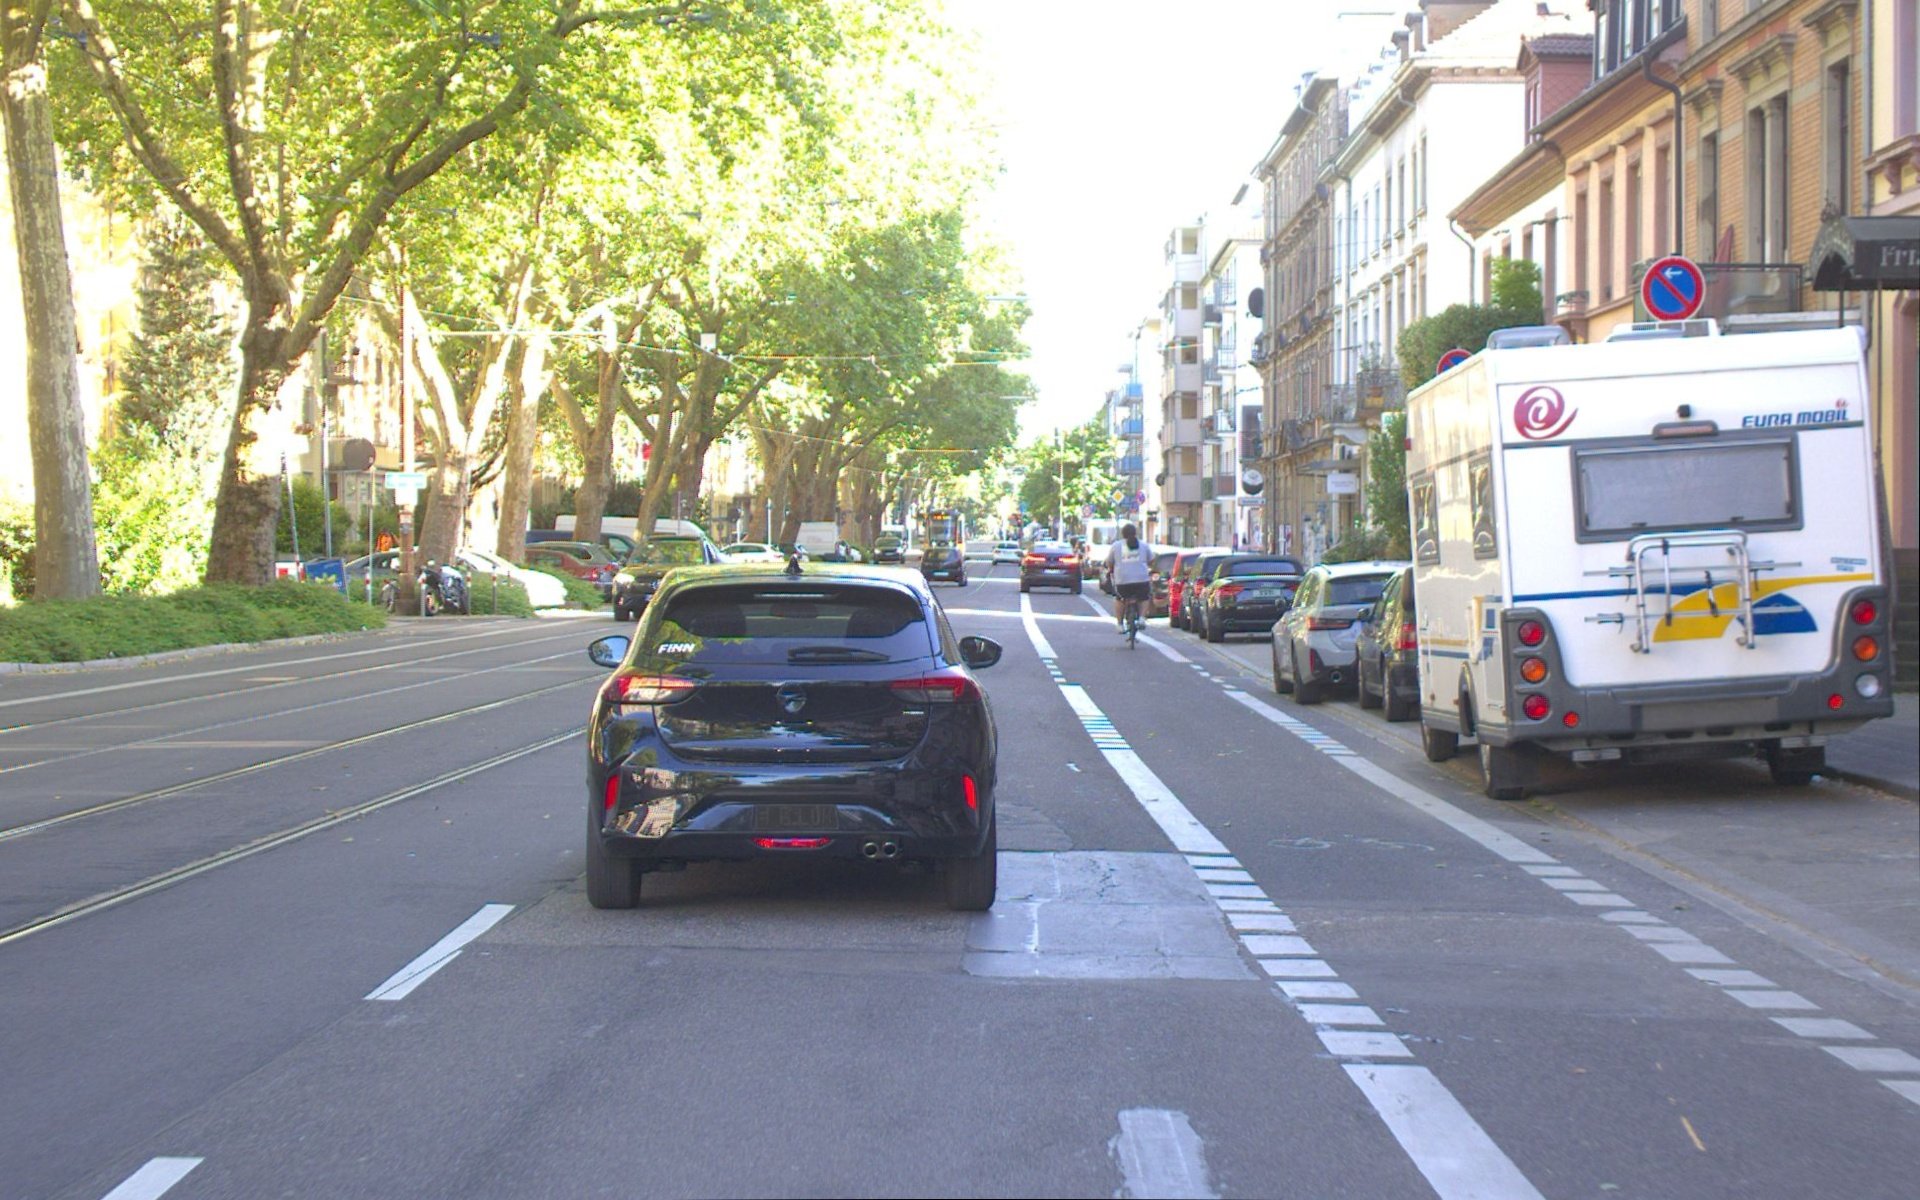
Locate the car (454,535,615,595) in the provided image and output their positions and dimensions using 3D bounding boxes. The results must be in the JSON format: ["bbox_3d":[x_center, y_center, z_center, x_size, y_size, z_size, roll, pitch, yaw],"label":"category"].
[{"bbox_3d":[-11.103,-0.908,89.782,3.920,1.437,1.749,2,1,2],"label":"car"}]

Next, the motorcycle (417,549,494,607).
[{"bbox_3d":[-10.279,-0.459,70.135,0.884,1.143,2.390,1,1,9],"label":"motorcycle"}]

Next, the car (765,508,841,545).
[{"bbox_3d":[-8.239,-3.852,180.321,3.919,1.784,1.677,2,1,-1],"label":"car"}]

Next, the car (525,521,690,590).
[{"bbox_3d":[-10.630,-1.335,103.860,4.675,1.917,1.980,2,1,3],"label":"car"}]

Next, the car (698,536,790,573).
[{"bbox_3d":[-9.404,-1.985,149.857,3.919,1.493,1.677,2,1,-1],"label":"car"}]

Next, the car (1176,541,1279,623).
[{"bbox_3d":[4.925,-0.356,63.657,1.651,1.451,3.868,-1,1,1],"label":"car"}]

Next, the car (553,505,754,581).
[{"bbox_3d":[-10.566,-1.961,118.967,6.628,2.401,2.458,2,1,2],"label":"car"}]

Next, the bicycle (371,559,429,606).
[{"bbox_3d":[-11.399,-0.363,70.046,0.541,0.937,2.033,1,1,9],"label":"bicycle"}]

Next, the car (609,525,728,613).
[{"bbox_3d":[-5.689,-0.640,67.524,1.866,1.624,4.560,0,2,1],"label":"car"}]

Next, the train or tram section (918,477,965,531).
[{"bbox_3d":[-1.242,-6.651,240.169,2.735,3.669,12.716,0,1,2],"label":"train or tram section"}]

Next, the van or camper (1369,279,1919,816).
[{"bbox_3d":[4.445,-0.364,23.727,2.477,2.962,7.883,-3,1,2],"label":"van or camper"}]

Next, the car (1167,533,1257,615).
[{"bbox_3d":[4.977,-0.533,68.177,1.634,1.541,3.576,-1,1,2],"label":"car"}]

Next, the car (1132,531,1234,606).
[{"bbox_3d":[5.141,-0.740,79.645,1.880,1.580,3.933,-3,1,-2],"label":"car"}]

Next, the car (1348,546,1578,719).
[{"bbox_3d":[4.645,0.254,32.217,1.645,1.429,4.029,-3,1,2],"label":"car"}]

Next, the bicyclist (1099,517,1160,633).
[{"bbox_3d":[2.556,-0.382,51.901,0.848,1.734,1.162,1,1,0],"label":"bicyclist"}]

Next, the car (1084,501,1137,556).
[{"bbox_3d":[6.395,-3.036,146.317,2.076,2.211,4.933,-3,1,2],"label":"car"}]

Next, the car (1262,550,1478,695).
[{"bbox_3d":[4.347,0.198,37.072,1.809,1.430,4.665,-1,1,1],"label":"car"}]

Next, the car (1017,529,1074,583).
[{"bbox_3d":[2.834,-1.456,112.920,1.810,1.736,3.933,0,1,2],"label":"car"}]

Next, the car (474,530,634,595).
[{"bbox_3d":[-10.839,-1.009,92.046,3.995,1.621,1.879,2,1,1],"label":"car"}]

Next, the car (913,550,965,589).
[{"bbox_3d":[-0.759,-1.112,123.872,1.810,1.333,3.933,0,1,-1],"label":"car"}]

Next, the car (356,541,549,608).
[{"bbox_3d":[-11.183,-0.570,75.876,3.920,1.327,1.847,2,1,2],"label":"car"}]

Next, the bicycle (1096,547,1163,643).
[{"bbox_3d":[2.544,-0.092,51.856,0.860,1.402,2.524,1,1,0],"label":"bicycle"}]

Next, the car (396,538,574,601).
[{"bbox_3d":[-11.212,-0.731,81.298,3.920,1.457,1.805,0,1,2],"label":"car"}]

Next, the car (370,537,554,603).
[{"bbox_3d":[-11.362,-0.693,78.542,3.921,1.448,1.800,0,1,1],"label":"car"}]

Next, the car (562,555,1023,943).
[{"bbox_3d":[-0.629,0.559,15.206,1.794,1.436,3.531,1,2,1],"label":"car"}]

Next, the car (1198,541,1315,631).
[{"bbox_3d":[4.818,-0.255,56.373,1.694,1.388,4.494,-1,1,2],"label":"car"}]
